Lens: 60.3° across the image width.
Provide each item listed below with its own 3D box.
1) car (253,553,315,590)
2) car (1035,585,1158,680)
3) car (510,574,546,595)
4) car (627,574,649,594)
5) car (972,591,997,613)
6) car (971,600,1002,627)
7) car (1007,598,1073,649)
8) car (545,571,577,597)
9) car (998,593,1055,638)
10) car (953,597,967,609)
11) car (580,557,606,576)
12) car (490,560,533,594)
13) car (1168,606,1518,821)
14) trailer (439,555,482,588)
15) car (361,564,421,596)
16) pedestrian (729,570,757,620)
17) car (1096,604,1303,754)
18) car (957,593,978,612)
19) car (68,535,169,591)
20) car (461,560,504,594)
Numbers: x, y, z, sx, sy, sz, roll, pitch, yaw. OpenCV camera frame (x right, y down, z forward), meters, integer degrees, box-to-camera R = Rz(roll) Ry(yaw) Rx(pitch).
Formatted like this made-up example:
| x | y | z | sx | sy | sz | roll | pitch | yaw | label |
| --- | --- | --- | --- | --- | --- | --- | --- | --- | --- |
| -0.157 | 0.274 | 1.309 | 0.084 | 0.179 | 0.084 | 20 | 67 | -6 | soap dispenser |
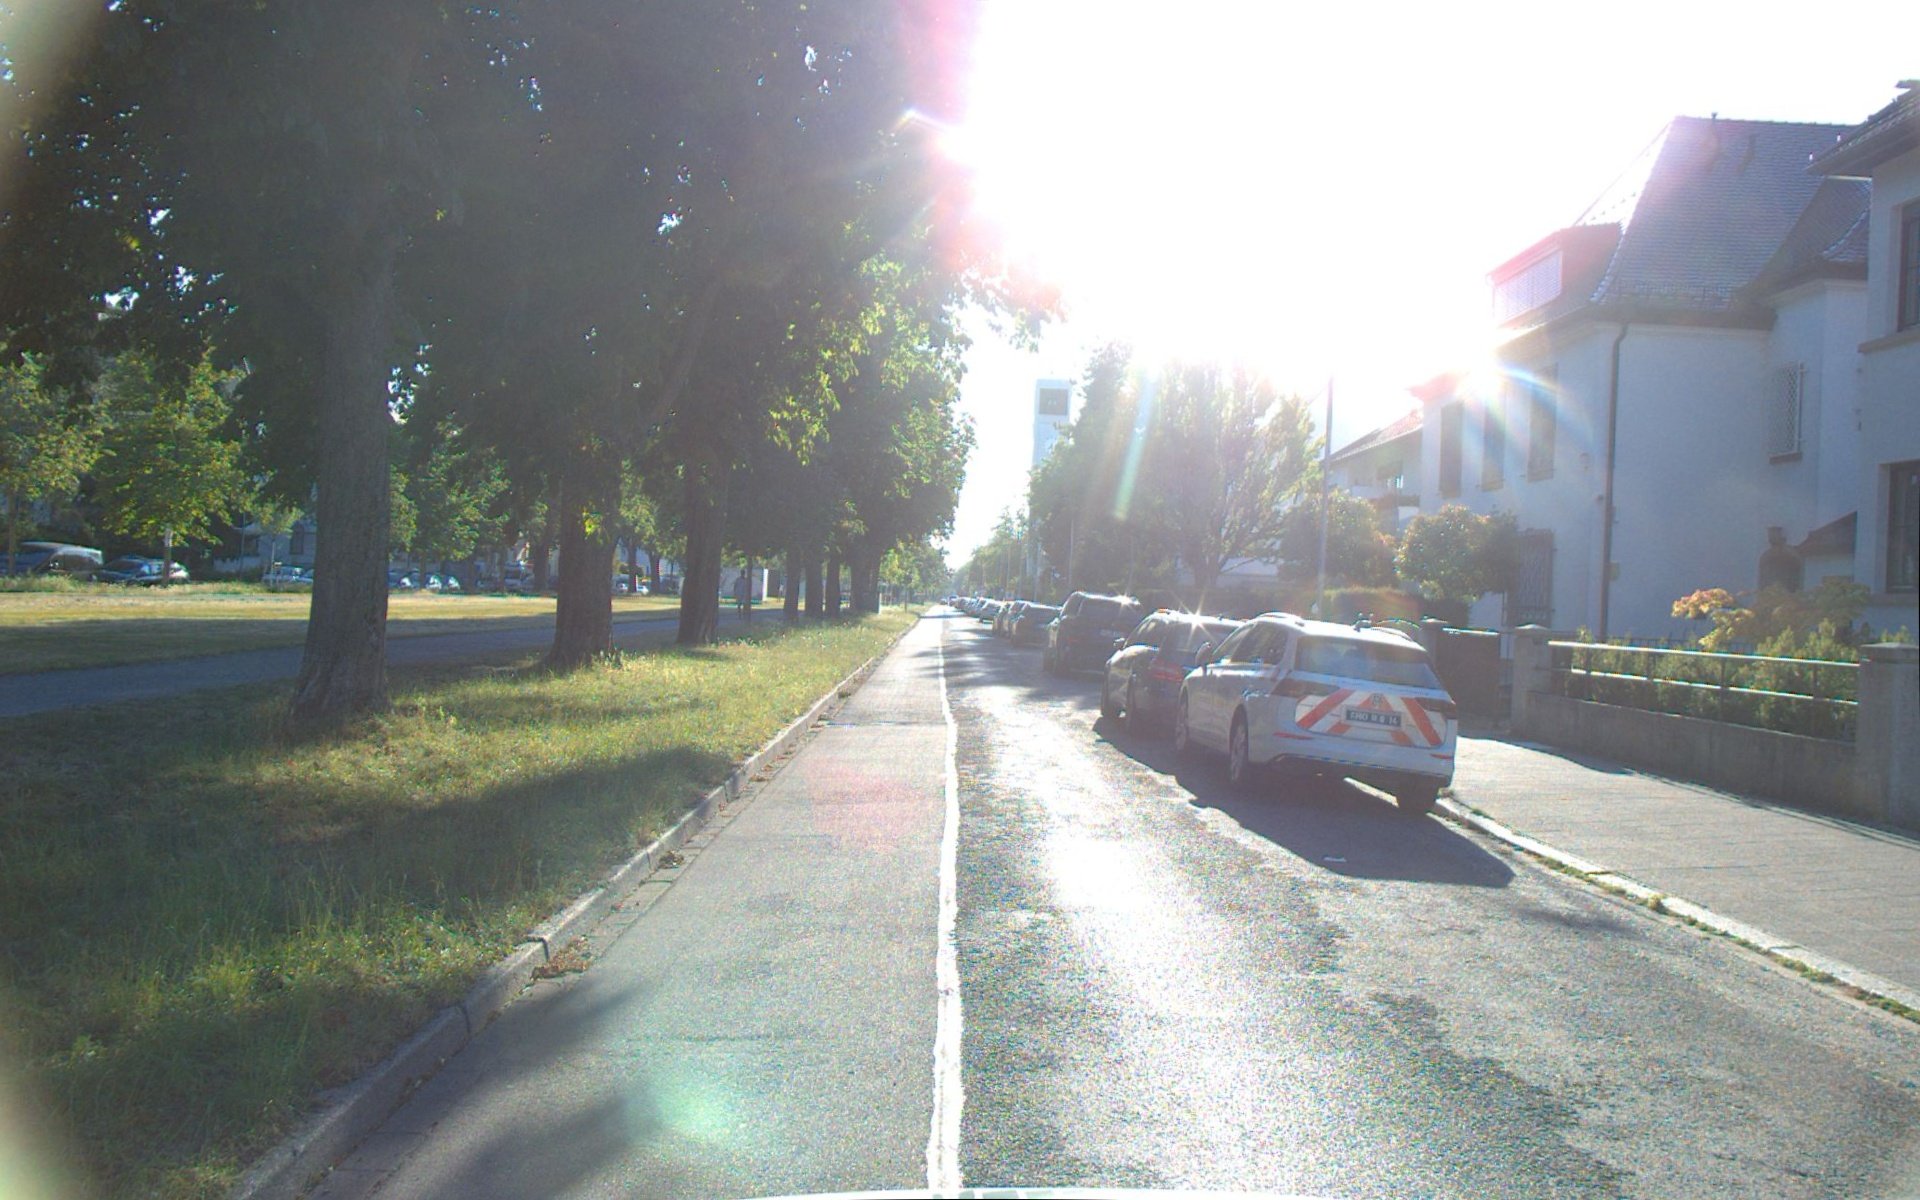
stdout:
| x | y | z | sx | sy | sz | roll | pitch | yaw | label |
| --- | --- | --- | --- | --- | --- | --- | --- | --- | --- |
| -39.586 | -1.639 | 96.936 | 1.990 | 2.049 | 4.000 | 0 | 0 | 0 | car |
| 2.795 | 0.623 | 34.873 | 1.953 | 1.767 | 4.862 | 3 | 0 | -2 | car |
| -34.850 | -1.259 | 133.518 | 1.650 | 1.587 | 4.314 | 2 | 0 | 0 | car |
| -41.211 | -2.078 | 211.560 | 1.953 | 2.452 | 4.363 | 0 | 0 | 0 | car |
| 1.953 | 0.173 | 130.639 | 1.723 | 1.633 | 4.357 | 2 | 0 | -2 | car |
| 1.703 | 0.847 | 107.295 | 1.722 | 1.443 | 4.072 | 9 | 0 | 0 | car |
| 2.591 | 0.742 | 54.552 | 1.757 | 1.518 | 4.673 | 3 | 0 | -1 | car |
| -34.730 | -1.402 | 143.942 | 1.650 | 2.213 | 4.314 | 3 | 1 | 0 | car |
| 2.585 | 0.587 | 65.109 | 1.659 | 1.508 | 3.925 | 6 | 0 | -5 | car |
| -0.011 | 0.426 | 232.484 | 1.940 | 1.712 | 4.000 | 2 | 0 | 0 | car |
| -41.563 | -3.790 | 187.416 | 1.953 | 2.049 | 4.483 | 0 | -1 | -1 | car |
| -40.522 | -2.041 | 149.621 | 2.388 | 2.973 | 5.817 | 0 | 0 | -1 | car |
| 3.287 | 0.894 | 15.216 | 1.954 | 1.489 | 4.549 | 5 | 0 | -2 | car |
| -40.143 | -2.250 | 133.130 | 1.953 | 2.470 | 4.723 | 2 | 0 | 0 | trailer |
| -34.093 | -1.166 | 99.202 | 1.953 | 1.751 | 4.255 | 3 | 0 | 1 | car |
| -7.896 | -0.175 | 60.246 | 0.709 | 1.788 | 0.994 | 2 | 0 | 6 | pedestrian |
| 2.875 | 0.897 | 20.840 | 1.744 | 1.488 | 4.593 | 5 | 0 | -1 | car |
| 0.695 | 0.212 | 151.234 | 1.723 | 1.633 | 4.357 | 2 | 0 | -2 | car |
| -34.200 | -1.478 | 67.318 | 1.953 | 2.048 | 4.000 | 4 | 0 | 0 | car |
| -40.232 | -1.942 | 139.481 | 1.953 | 2.719 | 5.186 | 2 | 0 | 0 | car |
